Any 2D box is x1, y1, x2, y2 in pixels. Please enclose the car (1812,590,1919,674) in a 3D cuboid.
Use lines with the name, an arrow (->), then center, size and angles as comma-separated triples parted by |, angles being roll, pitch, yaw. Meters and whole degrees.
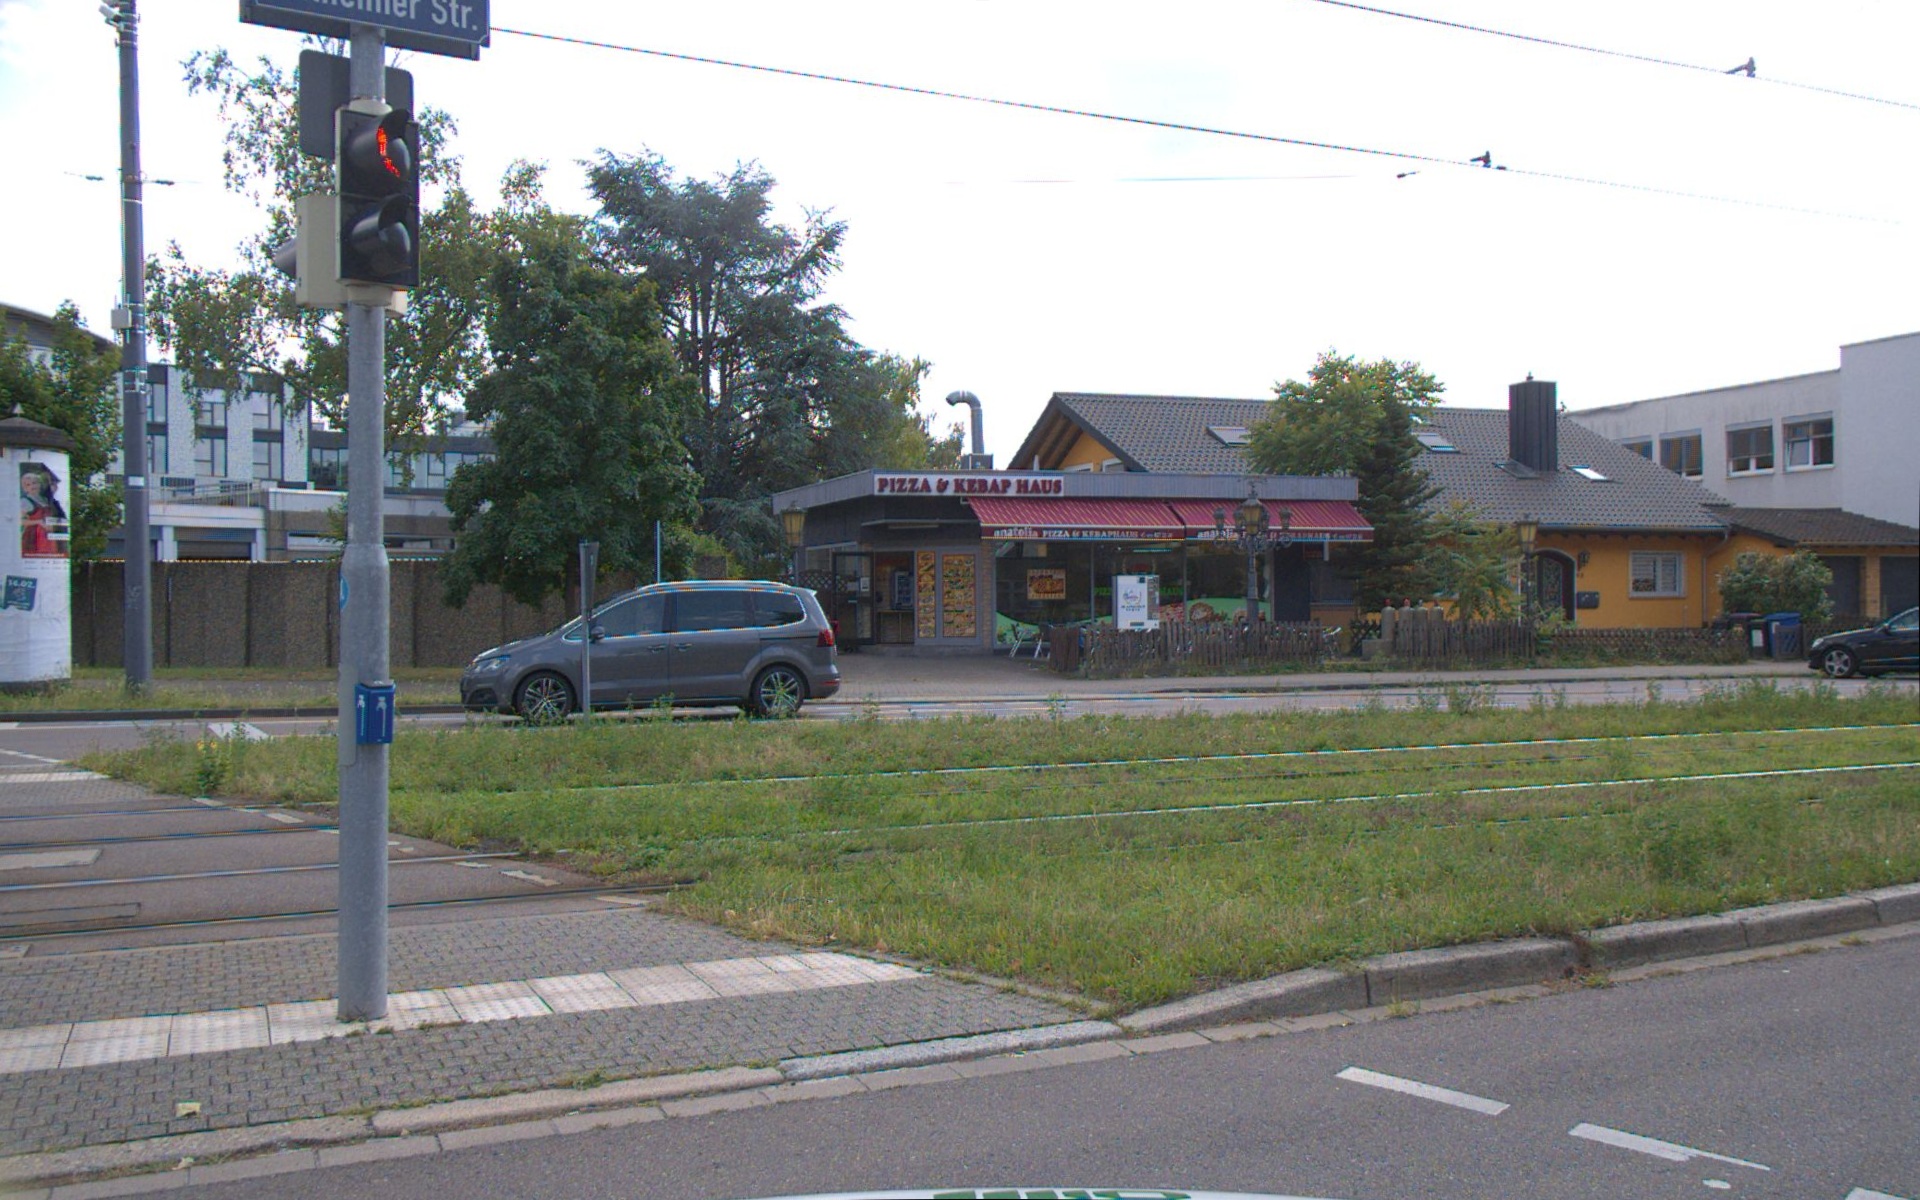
car -> 19.344, 0.594, 32.183 | 1.981, 1.608, 4.514 | 0, -1, -39

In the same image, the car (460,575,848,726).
car -> -3.923, 0.582, 21.093 | 4.652, 1.752, 1.989 | -1, 0, -19

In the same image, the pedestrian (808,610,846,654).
pedestrian -> -2.977, 0.706, 37.005 | 0.713, 0.945, 0.774 | 0, 1, -15
